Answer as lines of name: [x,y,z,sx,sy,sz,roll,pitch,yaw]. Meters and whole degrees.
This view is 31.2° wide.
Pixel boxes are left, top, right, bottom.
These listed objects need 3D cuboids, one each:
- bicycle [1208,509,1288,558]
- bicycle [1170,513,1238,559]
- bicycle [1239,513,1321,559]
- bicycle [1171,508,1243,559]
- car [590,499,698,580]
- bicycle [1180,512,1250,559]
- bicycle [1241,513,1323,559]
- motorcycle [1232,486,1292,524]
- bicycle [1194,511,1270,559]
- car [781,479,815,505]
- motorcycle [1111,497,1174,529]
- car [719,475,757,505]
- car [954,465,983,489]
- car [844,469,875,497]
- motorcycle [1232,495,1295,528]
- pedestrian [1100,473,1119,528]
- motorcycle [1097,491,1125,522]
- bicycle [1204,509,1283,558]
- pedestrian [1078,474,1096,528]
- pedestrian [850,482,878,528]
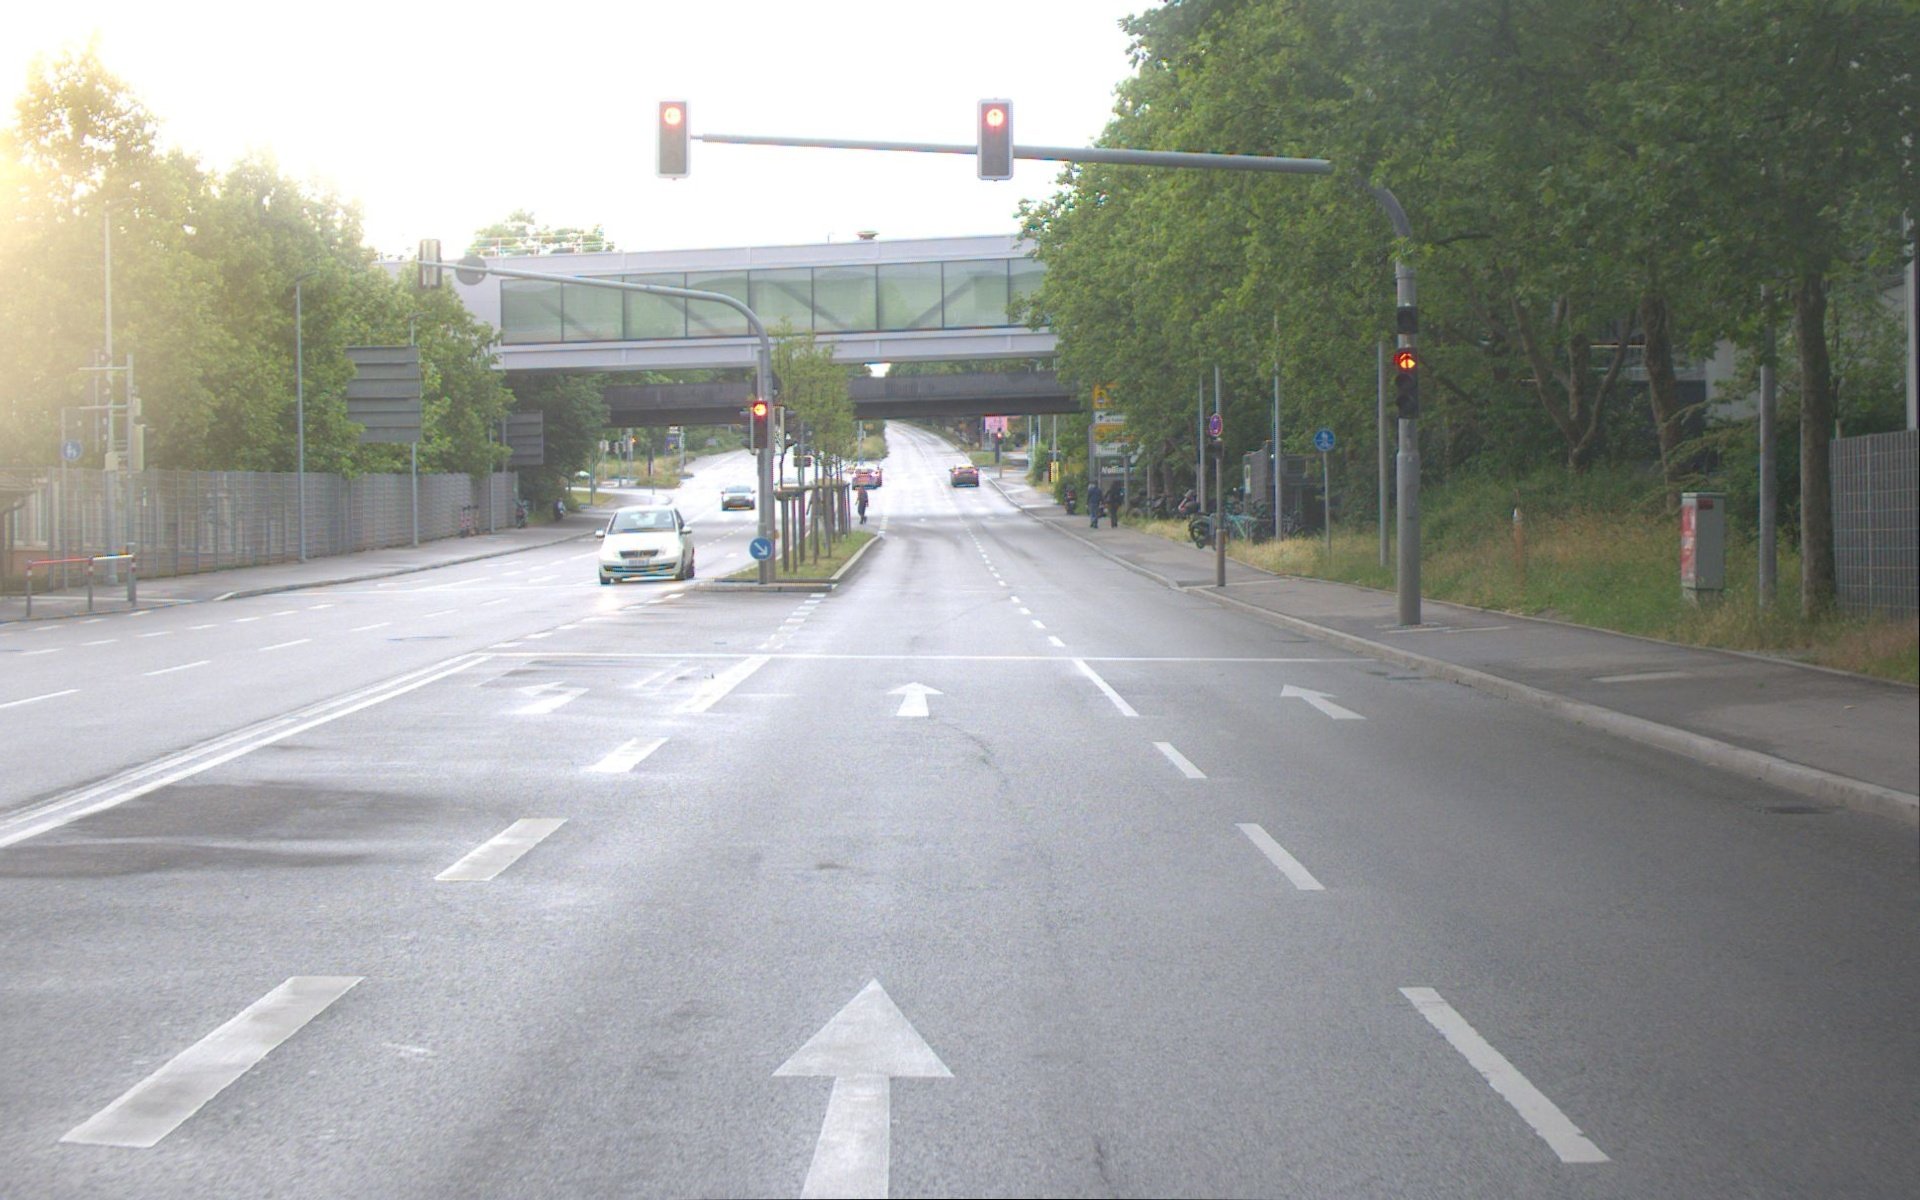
bicycle: [7.374,-1.707,88.083,1.990,1.212,0.541,2,0,1]
bicycle: [7.279,-1.905,102.561,1.960,1.324,0.576,2,0,1]
bicycle: [8.053,-1.614,86.616,1.990,1.091,0.541,2,0,1]
bicycle: [7.162,-1.932,99.759,1.990,1.425,0.723,2,0,1]
car: [-6.610,-1.291,72.288,1.877,1.619,3.779,-1,2,0]
bicycle: [7.464,-1.881,100.610,1.990,1.324,0.576,2,0,1]
bicycle: [8.052,-1.609,86.047,1.990,1.091,0.541,2,0,1]
motorcycle: [12.227,-3.835,139.136,2.369,1.471,0.722,-1,1,8]
bicycle: [7.365,-1.768,93.042,1.990,1.237,0.541,2,0,1]
car: [-10.240,-6.808,217.357,1.877,1.619,3.779,-1,2,0]
motorcycle: [7.114,-3.381,133.728,2.369,1.198,0.722,-1,1,8]
car: [-12.558,-6.222,194.533,1.877,1.619,3.779,-1,2,0]
car: [0.589,-8.387,235.232,1.875,1.492,4.068,2,1,0]
car: [-6.963,-8.125,239.165,1.993,1.756,4.000,2,1,0]
motorcycle: [11.761,-3.426,133.155,2.369,1.198,0.722,-1,1,8]
pedestrian: [5.531,-3.671,126.988,0.622,2.007,0.605,-2,1,0]
motorcycle: [6.714,-4.147,152.613,0.790,1.307,2.377,-2,1,-8]
bicycle: [7.443,-1.735,90.271,1.990,1.229,0.541,2,0,1]
pedestrian: [4.711,-3.669,127.487,0.622,2.007,0.605,-2,1,0]
pedestrian: [-4.292,-4.240,153.495,0.874,1.997,0.853,-1,2,38]
